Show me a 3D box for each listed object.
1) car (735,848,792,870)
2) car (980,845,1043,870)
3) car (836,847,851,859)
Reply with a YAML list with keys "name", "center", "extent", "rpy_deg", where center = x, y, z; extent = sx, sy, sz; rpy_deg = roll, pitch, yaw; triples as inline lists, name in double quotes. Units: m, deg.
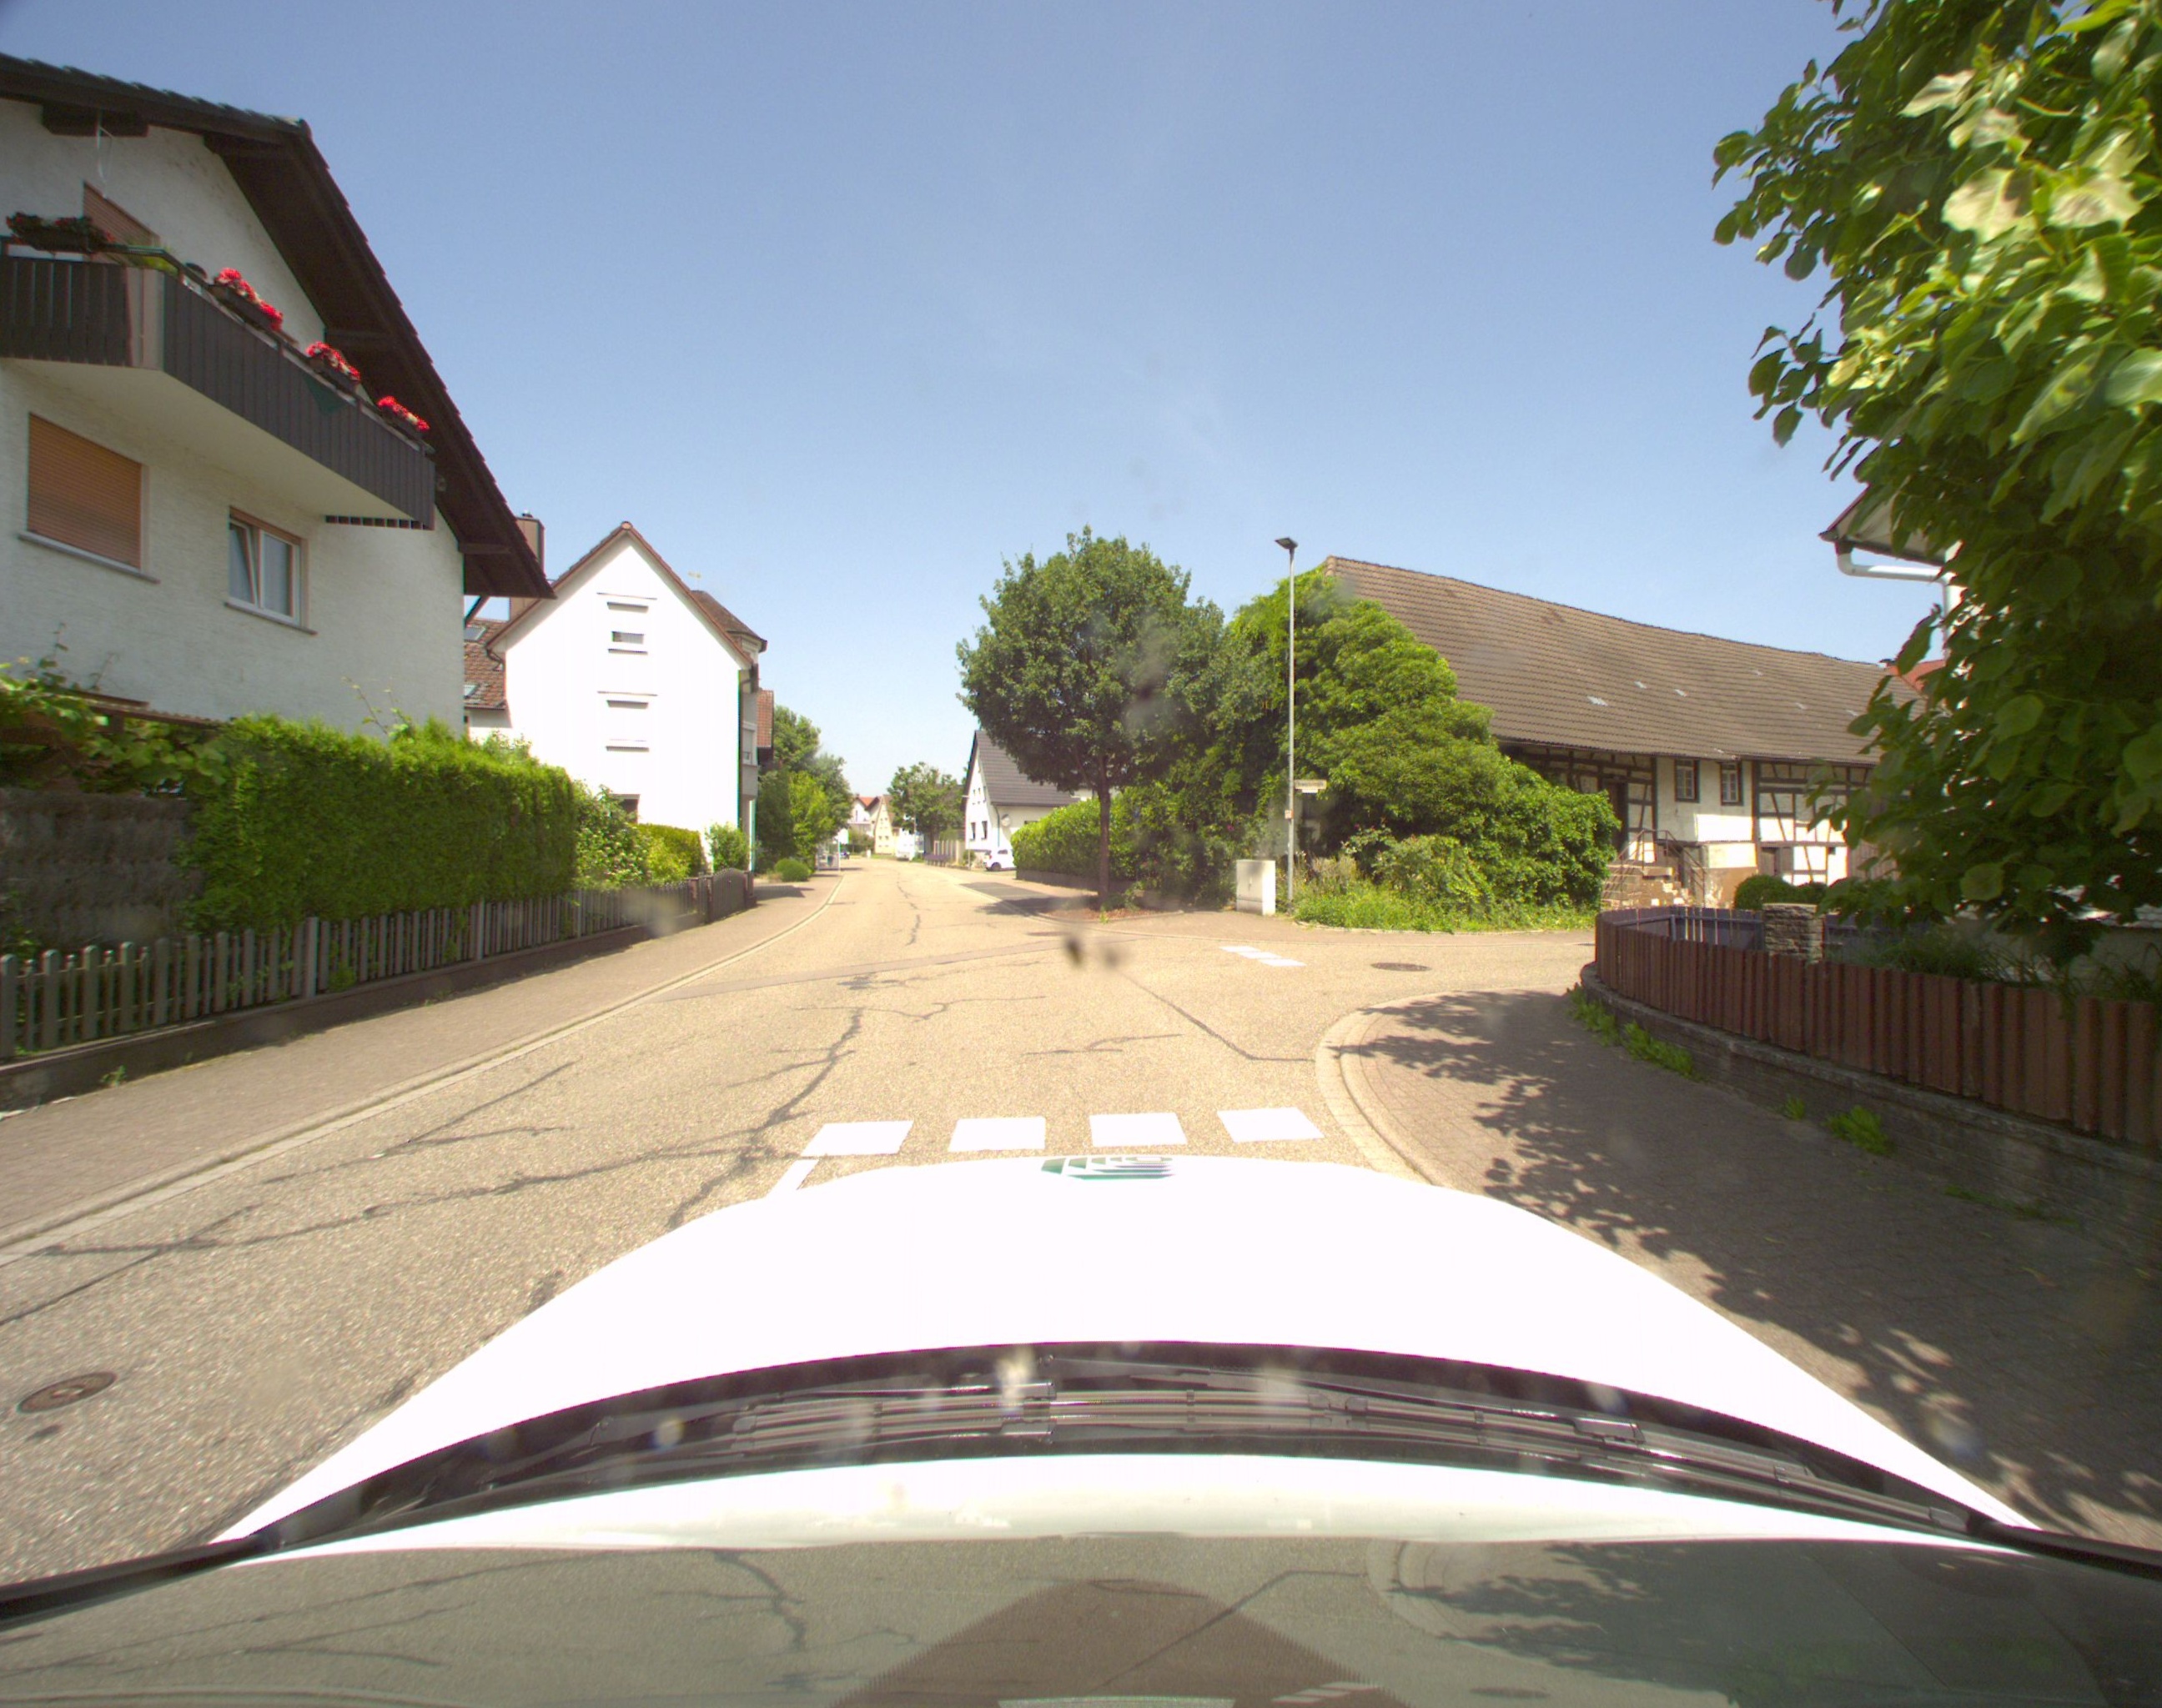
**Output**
- name: "car"
  center: [-25.716, 0.389, 66.069]
  extent: [4.174, 1.538, 1.762]
  rpy_deg: [-2, 1, -20]
- name: "car"
  center: [-4.474, 0.221, 52.595]
  extent: [3.672, 1.474, 1.752]
  rpy_deg: [-2, 2, -23]
- name: "car"
  center: [-33.307, -0.138, 114.224]
  extent: [1.778, 1.623, 4.086]
  rpy_deg: [-1, 1, -13]
